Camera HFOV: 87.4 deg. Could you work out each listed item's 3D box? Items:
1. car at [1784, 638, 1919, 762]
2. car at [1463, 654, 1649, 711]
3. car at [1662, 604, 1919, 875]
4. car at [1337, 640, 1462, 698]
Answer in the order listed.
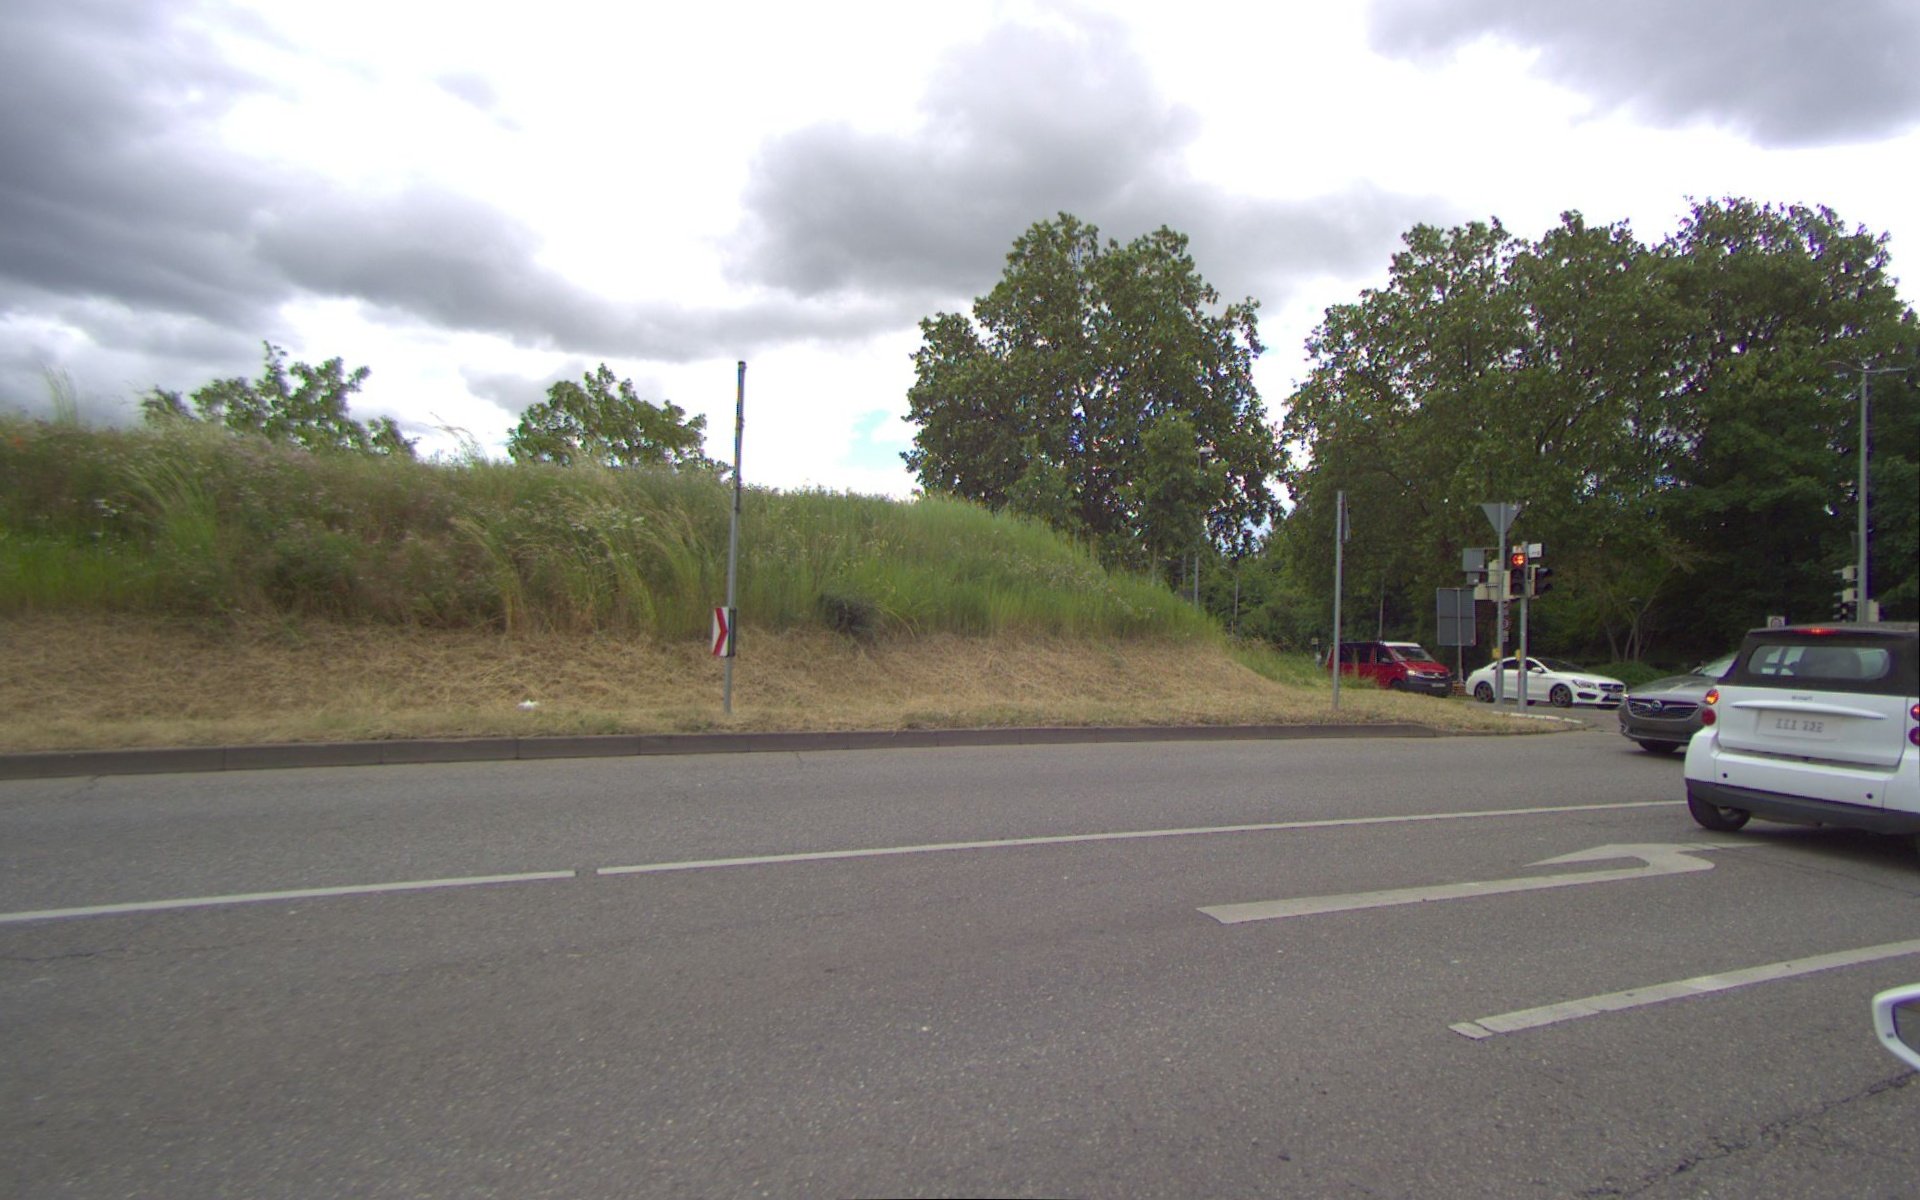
[{"bbox_3d":[13.300,1.275,13.125,4.349,1.439,1.765,2,-1,-16],"label":"car"},{"bbox_3d":[16.855,2.304,28.680,1.968,1.356,4.405,4,-3,-17],"label":"car"},{"bbox_3d":[6.839,0.870,7.180,2.972,1.578,1.573,2,0,-21],"label":"car"},{"bbox_3d":[15.083,2.353,34.718,1.825,1.837,4.026,2,-3,-16],"label":"car"}]
